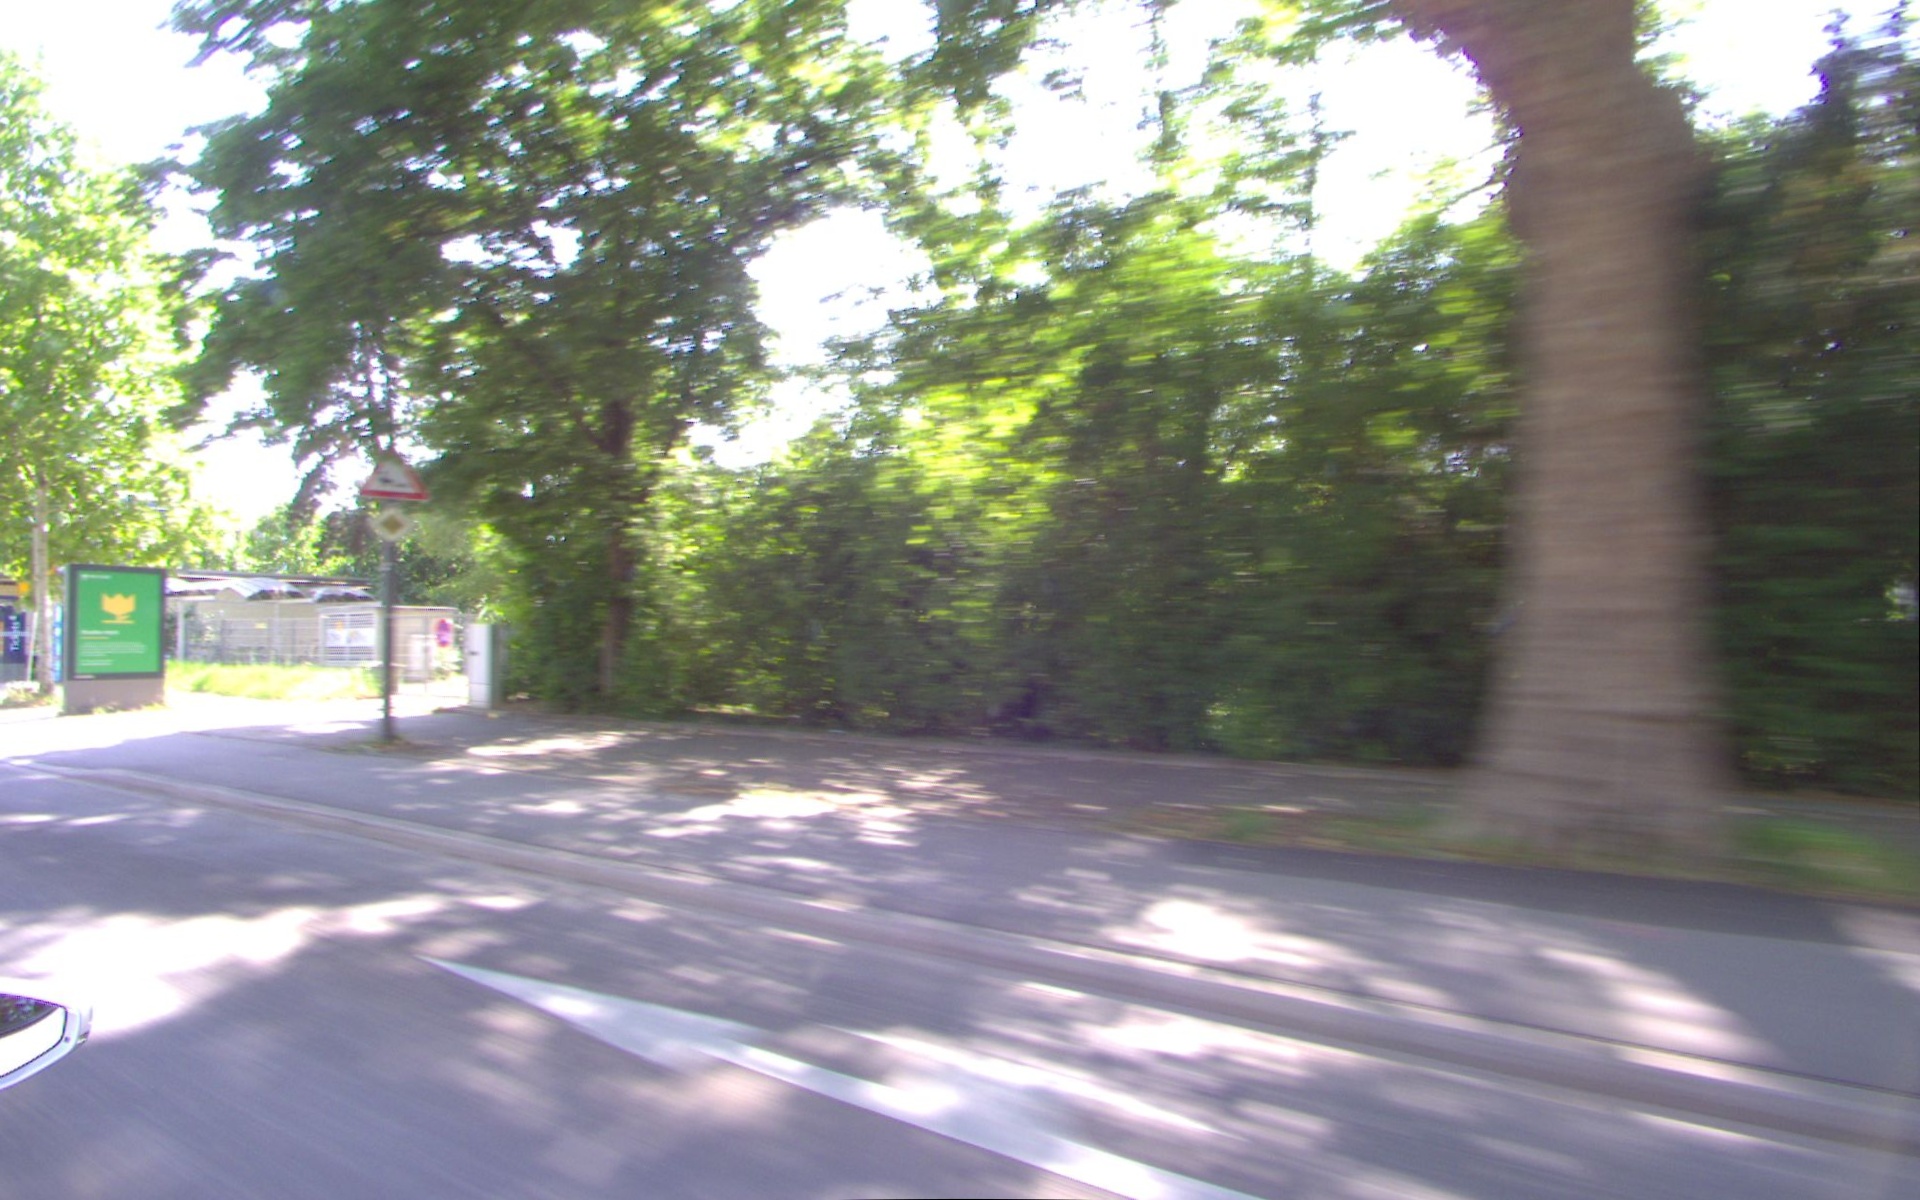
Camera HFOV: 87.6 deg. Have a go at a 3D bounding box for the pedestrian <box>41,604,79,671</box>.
[{"bbox_3d":[-26.153,1.088,29.108,0.684,1.920,0.612,0,-1,29],"label":"pedestrian"}]

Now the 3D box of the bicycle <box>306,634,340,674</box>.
[{"bbox_3d":[-19.384,1.626,30.460,1.157,1.195,0.388,-1,-2,33],"label":"bicycle"}]

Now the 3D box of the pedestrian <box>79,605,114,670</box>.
[{"bbox_3d":[-25.724,1.117,29.829,0.588,1.920,0.612,0,-1,29],"label":"pedestrian"}]

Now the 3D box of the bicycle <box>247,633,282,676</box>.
[{"bbox_3d":[-19.985,1.565,28.763,1.157,1.195,0.388,-1,-2,33],"label":"bicycle"}]
